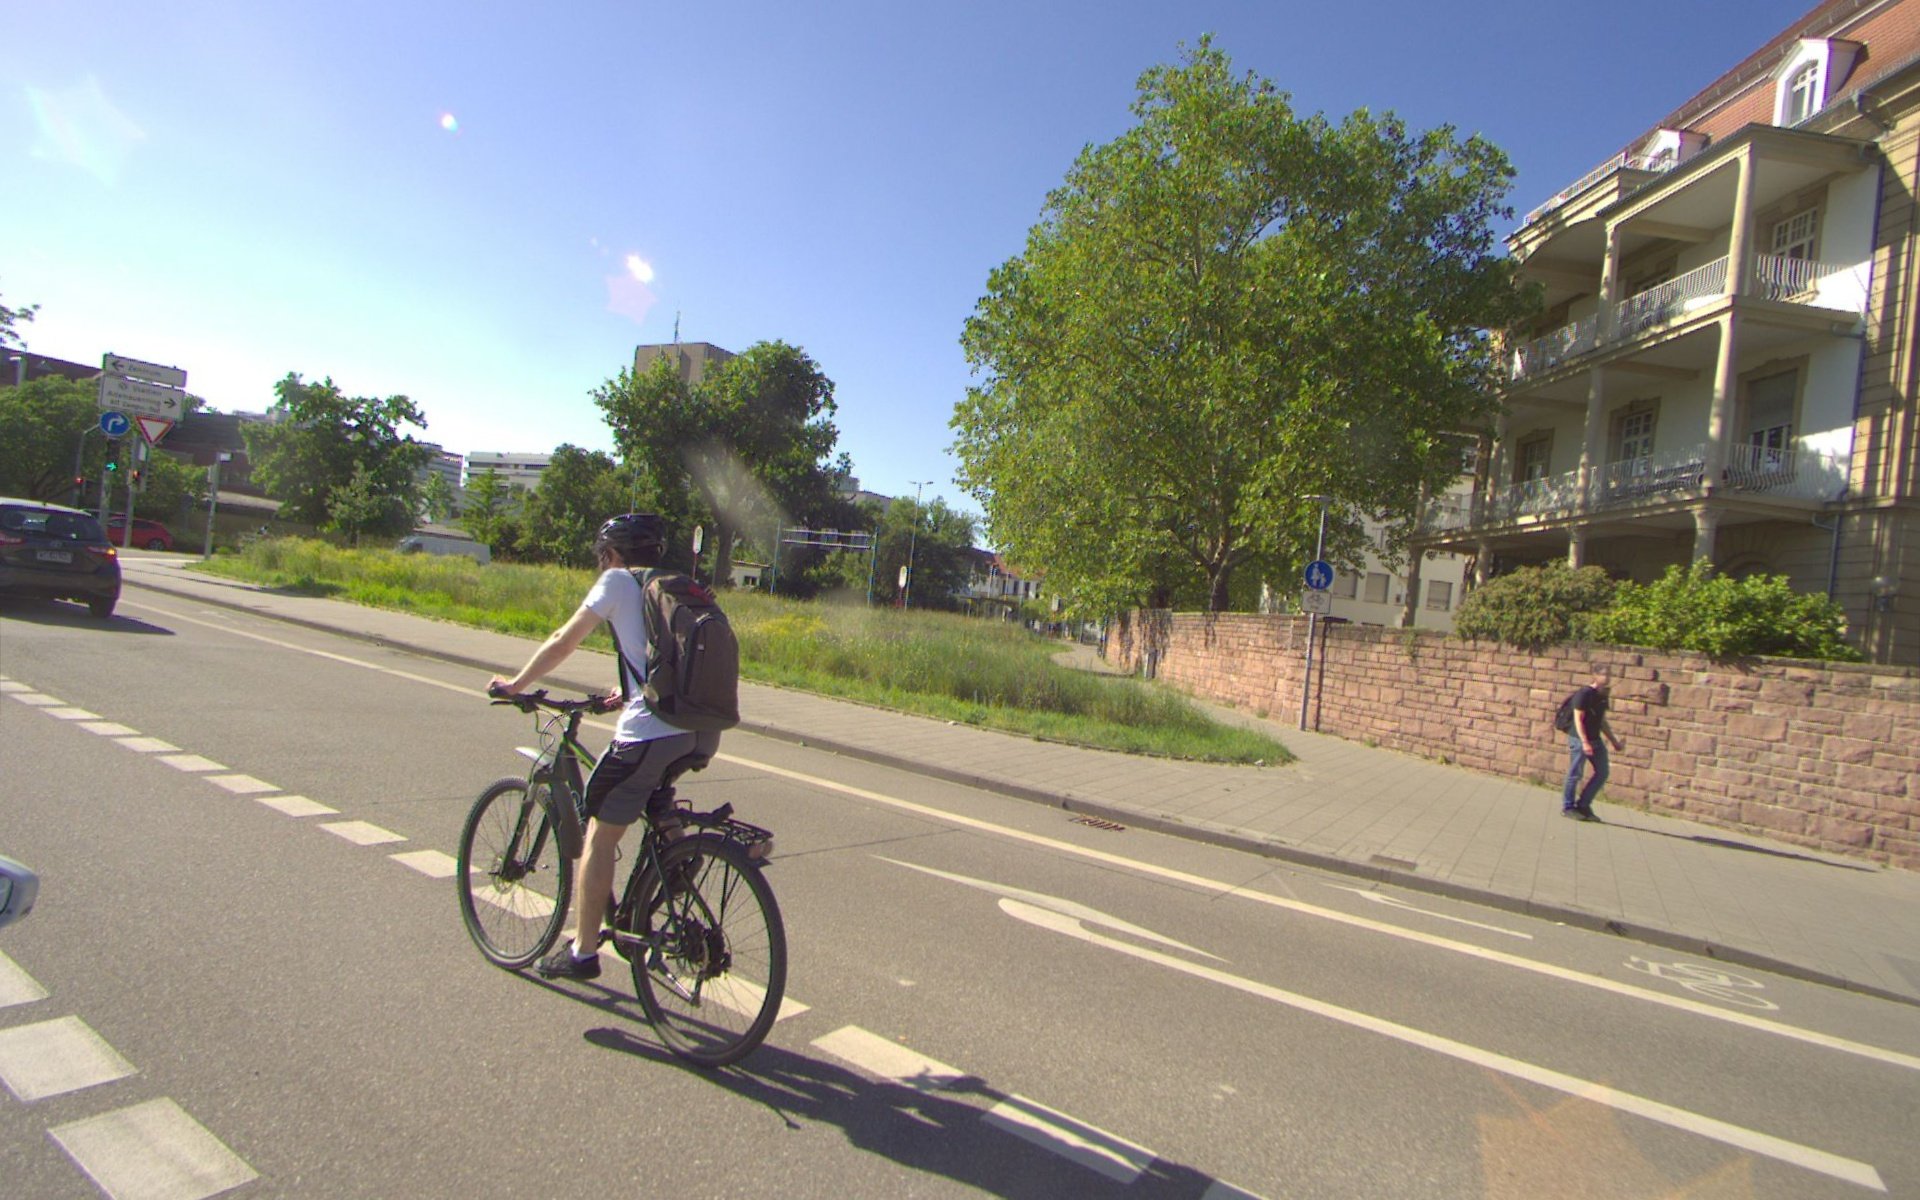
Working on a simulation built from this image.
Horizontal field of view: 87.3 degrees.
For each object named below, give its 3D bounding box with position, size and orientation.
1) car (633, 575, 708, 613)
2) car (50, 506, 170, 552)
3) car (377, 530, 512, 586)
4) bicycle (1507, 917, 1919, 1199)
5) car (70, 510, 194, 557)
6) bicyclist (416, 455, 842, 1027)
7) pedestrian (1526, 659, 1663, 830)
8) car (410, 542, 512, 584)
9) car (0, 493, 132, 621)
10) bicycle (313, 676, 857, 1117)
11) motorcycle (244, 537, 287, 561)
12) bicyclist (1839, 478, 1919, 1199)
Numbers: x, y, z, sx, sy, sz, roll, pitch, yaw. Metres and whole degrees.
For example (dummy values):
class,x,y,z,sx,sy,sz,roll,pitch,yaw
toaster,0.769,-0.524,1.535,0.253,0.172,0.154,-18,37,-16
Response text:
class,x,y,z,sx,sy,sz,roll,pitch,yaw
car,-21.825,-0.453,76.046,2.043,2.252,5.089,7,-1,37
car,-40.370,-3.356,47.830,1.971,1.481,3.985,7,-1,39
car,-31.451,-2.517,61.736,2.040,2.452,7.163,7,-1,32
bicycle,1.776,1.240,1.337,1.859,1.059,0.664,6,-2,31
car,-37.600,-3.007,45.746,1.971,1.481,3.985,6,-2,39
bicyclist,-1.136,0.401,3.484,1.037,1.645,0.723,6,-1,31
pedestrian,7.667,1.716,12.176,0.754,1.855,1.039,5,1,-37
car,-29.207,-2.133,58.977,2.043,1.767,4.852,7,-1,37
car,-13.763,-0.692,14.576,3.602,1.559,1.757,5,-2,36
bicycle,-1.371,0.885,3.558,1.852,0.971,0.724,6,-1,31
motorcycle,-41.600,-3.069,60.300,2.037,1.149,0.664,7,-2,-36
bicyclist,1.939,0.662,1.328,0.989,1.767,0.665,6,-2,31
